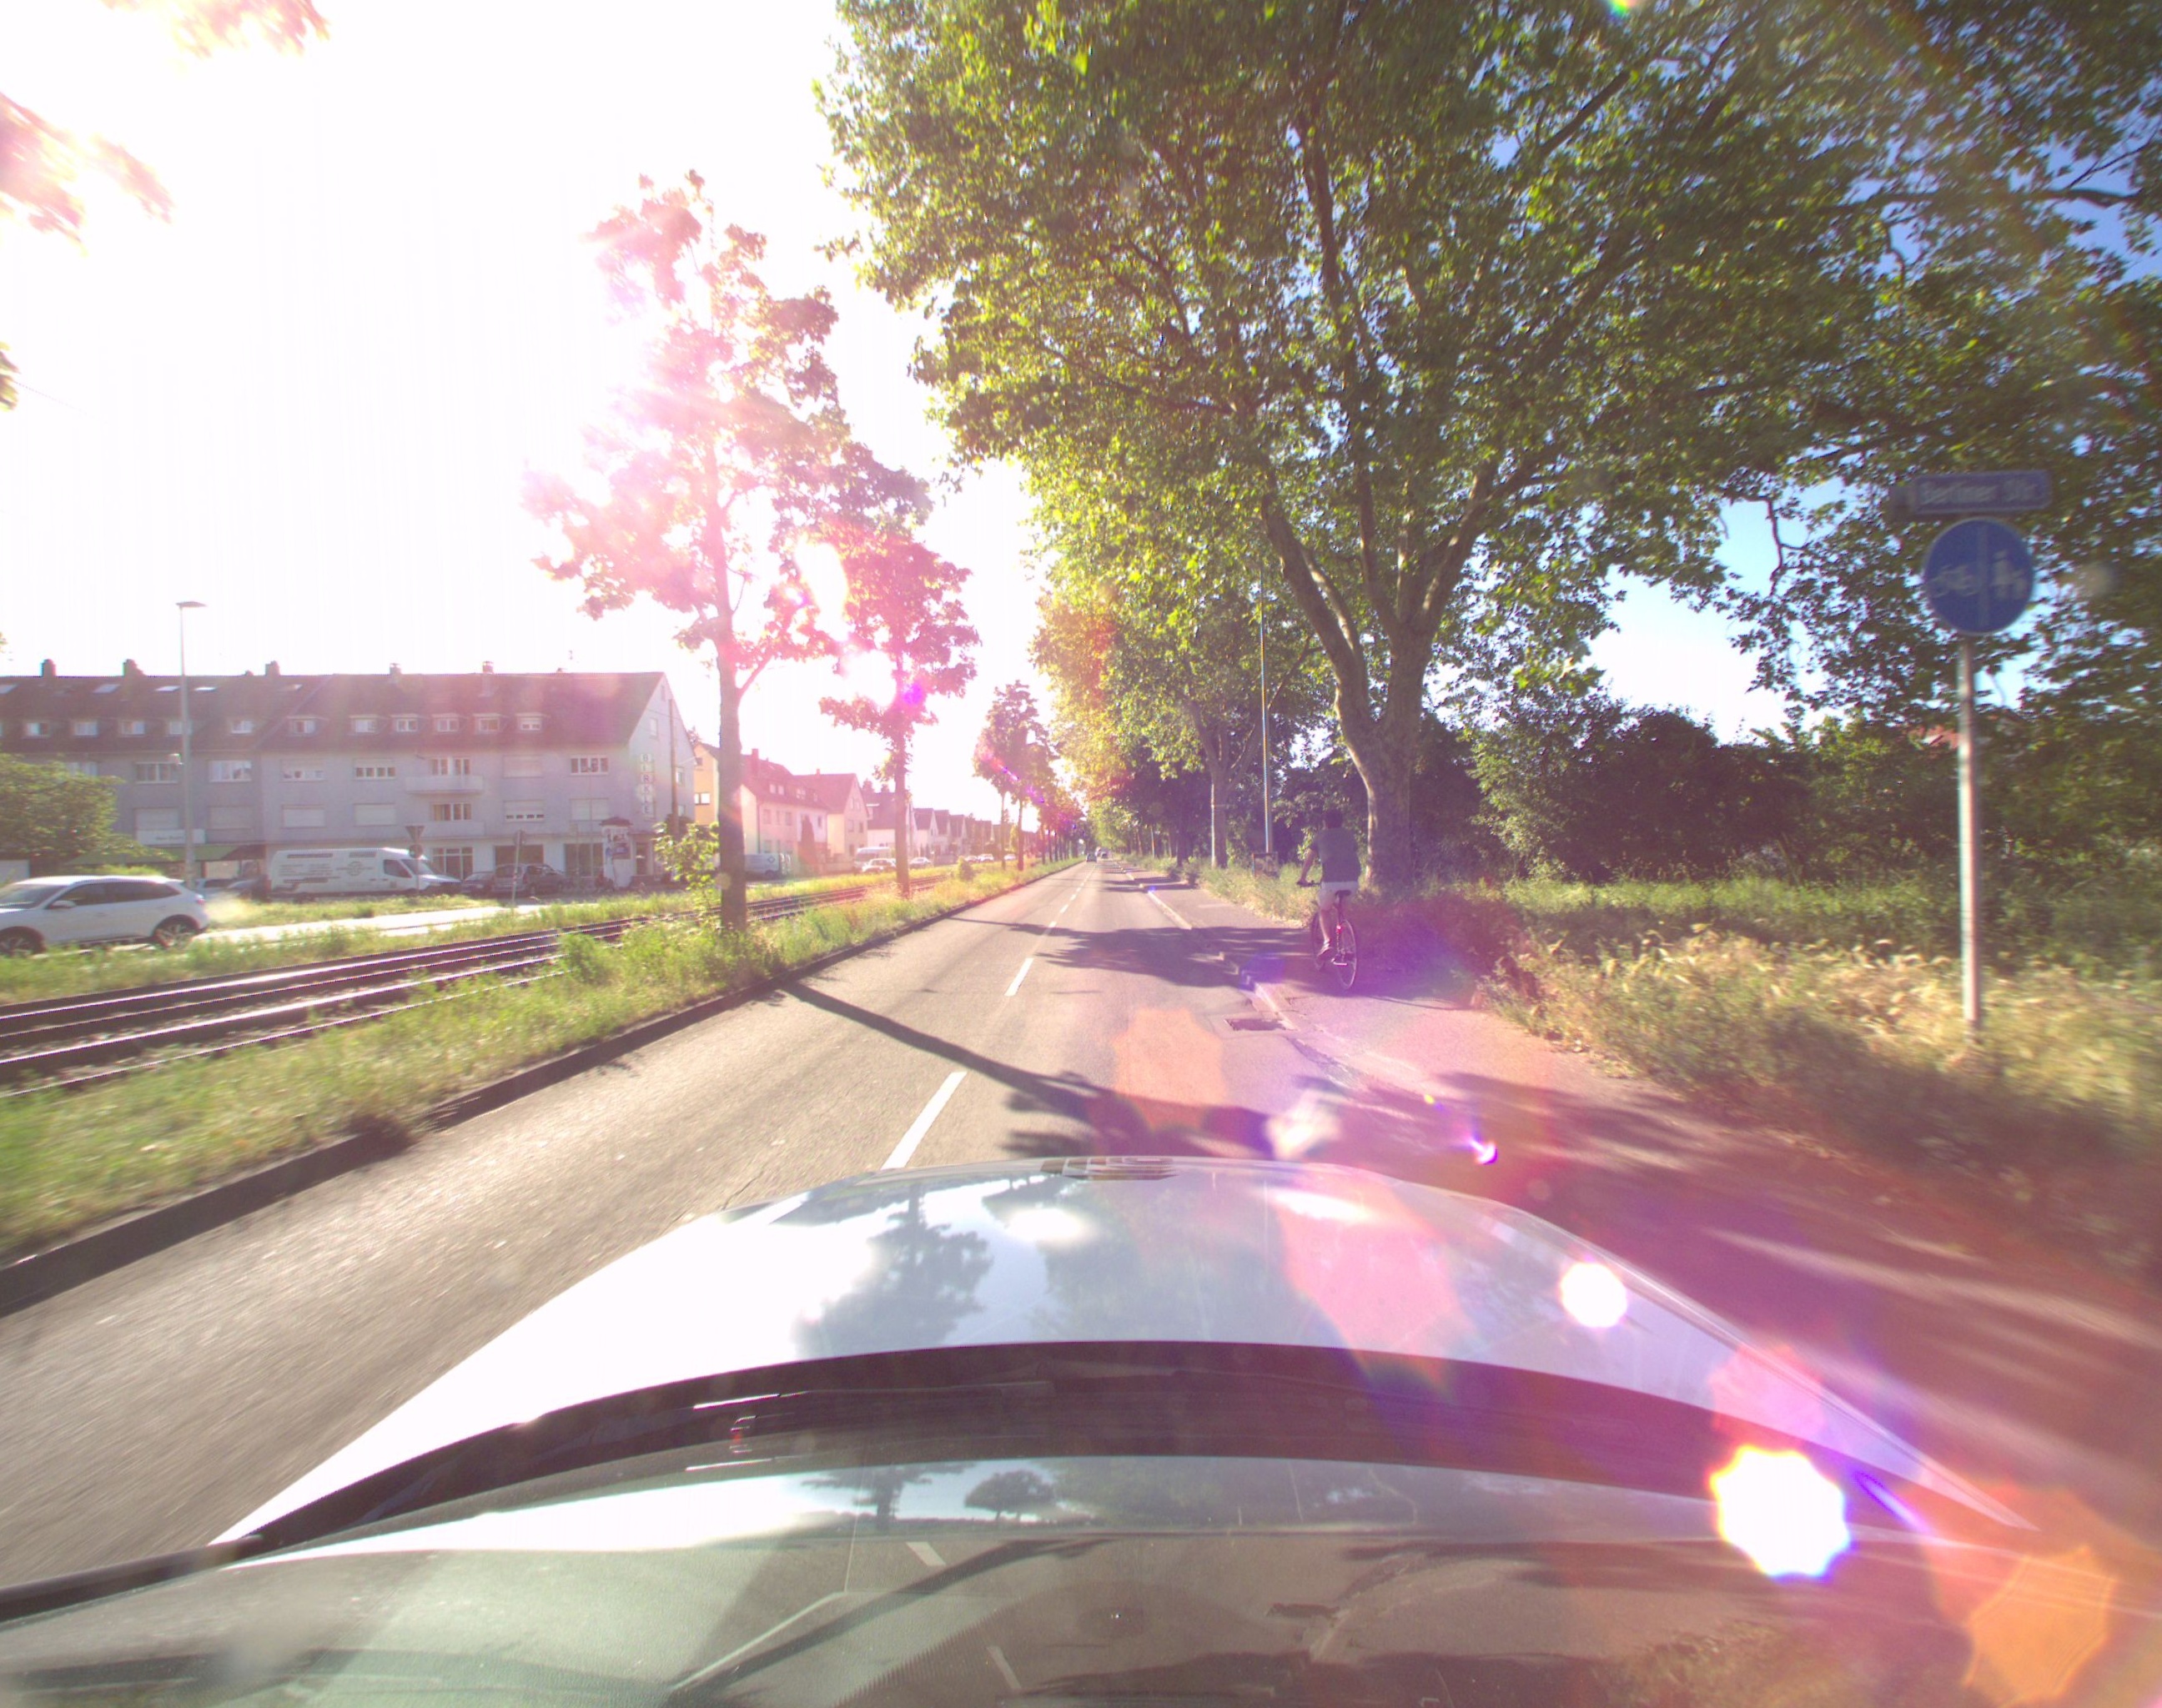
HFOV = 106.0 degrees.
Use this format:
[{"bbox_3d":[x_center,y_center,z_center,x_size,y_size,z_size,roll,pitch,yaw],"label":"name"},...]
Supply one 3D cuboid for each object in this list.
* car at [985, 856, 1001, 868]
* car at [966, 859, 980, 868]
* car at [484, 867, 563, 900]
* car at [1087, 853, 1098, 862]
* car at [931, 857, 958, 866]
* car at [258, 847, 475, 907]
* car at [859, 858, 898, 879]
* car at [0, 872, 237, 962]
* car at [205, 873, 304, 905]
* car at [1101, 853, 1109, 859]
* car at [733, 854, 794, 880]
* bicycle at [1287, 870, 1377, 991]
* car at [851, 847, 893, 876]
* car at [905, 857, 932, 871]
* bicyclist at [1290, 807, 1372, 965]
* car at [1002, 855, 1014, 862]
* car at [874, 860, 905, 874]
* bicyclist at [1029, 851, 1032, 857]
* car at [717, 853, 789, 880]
[{"bbox_3d":[-13.977,1.318,129.926,1.908,1.883,4.526,0,-1,3],"label":"car"},{"bbox_3d":[-17.519,1.537,132.290,1.487,1.326,4.003,0,-1,3],"label":"car"},{"bbox_3d":[-29.976,1.550,43.971,1.793,1.670,4.090,0,-1,-7],"label":"car"},{"bbox_3d":[1.844,0.541,128.943,1.732,1.401,3.277,0,-1,1],"label":"car"},{"bbox_3d":[-22.644,1.252,135.535,4.203,1.463,1.936,0,-1,-3],"label":"car"},{"bbox_3d":[-30.624,0.953,35.109,7.049,2.507,2.328,0,0,-3],"label":"car"},{"bbox_3d":[-14.654,1.060,59.208,1.670,1.410,4.001,-1,0,2],"label":"car"},{"bbox_3d":[-20.688,1.189,16.621,1.816,1.607,4.775,0,-1,2],"label":"car"},{"bbox_3d":[-42.642,1.782,42.118,1.526,1.449,3.625,-1,0,-4],"label":"car"},{"bbox_3d":[5.614,0.526,192.299,1.754,1.513,3.278,0,-1,2],"label":"car"},{"bbox_3d":[-24.842,0.987,63.837,4.137,1.952,1.994,0,0,-9],"label":"car"},{"bbox_3d":[2.706,0.772,8.942,0.438,1.153,1.824,-1,0,2],"label":"bicycle"},{"bbox_3d":[-19.054,0.699,74.585,1.986,2.459,6.676,0,-1,1],"label":"car"},{"bbox_3d":[-18.737,1.142,94.018,1.986,1.581,4.500,0,0,2],"label":"car"},{"bbox_3d":[2.711,0.328,8.910,0.611,1.628,0.909,-1,0,1],"label":"bicyclist"},{"bbox_3d":[-16.785,1.112,188.119,1.984,1.599,4.738,0,-1,5],"label":"car"},{"bbox_3d":[-18.884,1.283,80.498,1.818,1.412,4.658,0,-1,1],"label":"car"},{"bbox_3d":[-12.853,0.063,208.293,0.686,1.652,0.882,0,0,1],"label":"bicyclist"},{"bbox_3d":[-24.640,0.937,61.339,4.616,1.945,1.994,0,-1,-9],"label":"car"}]
